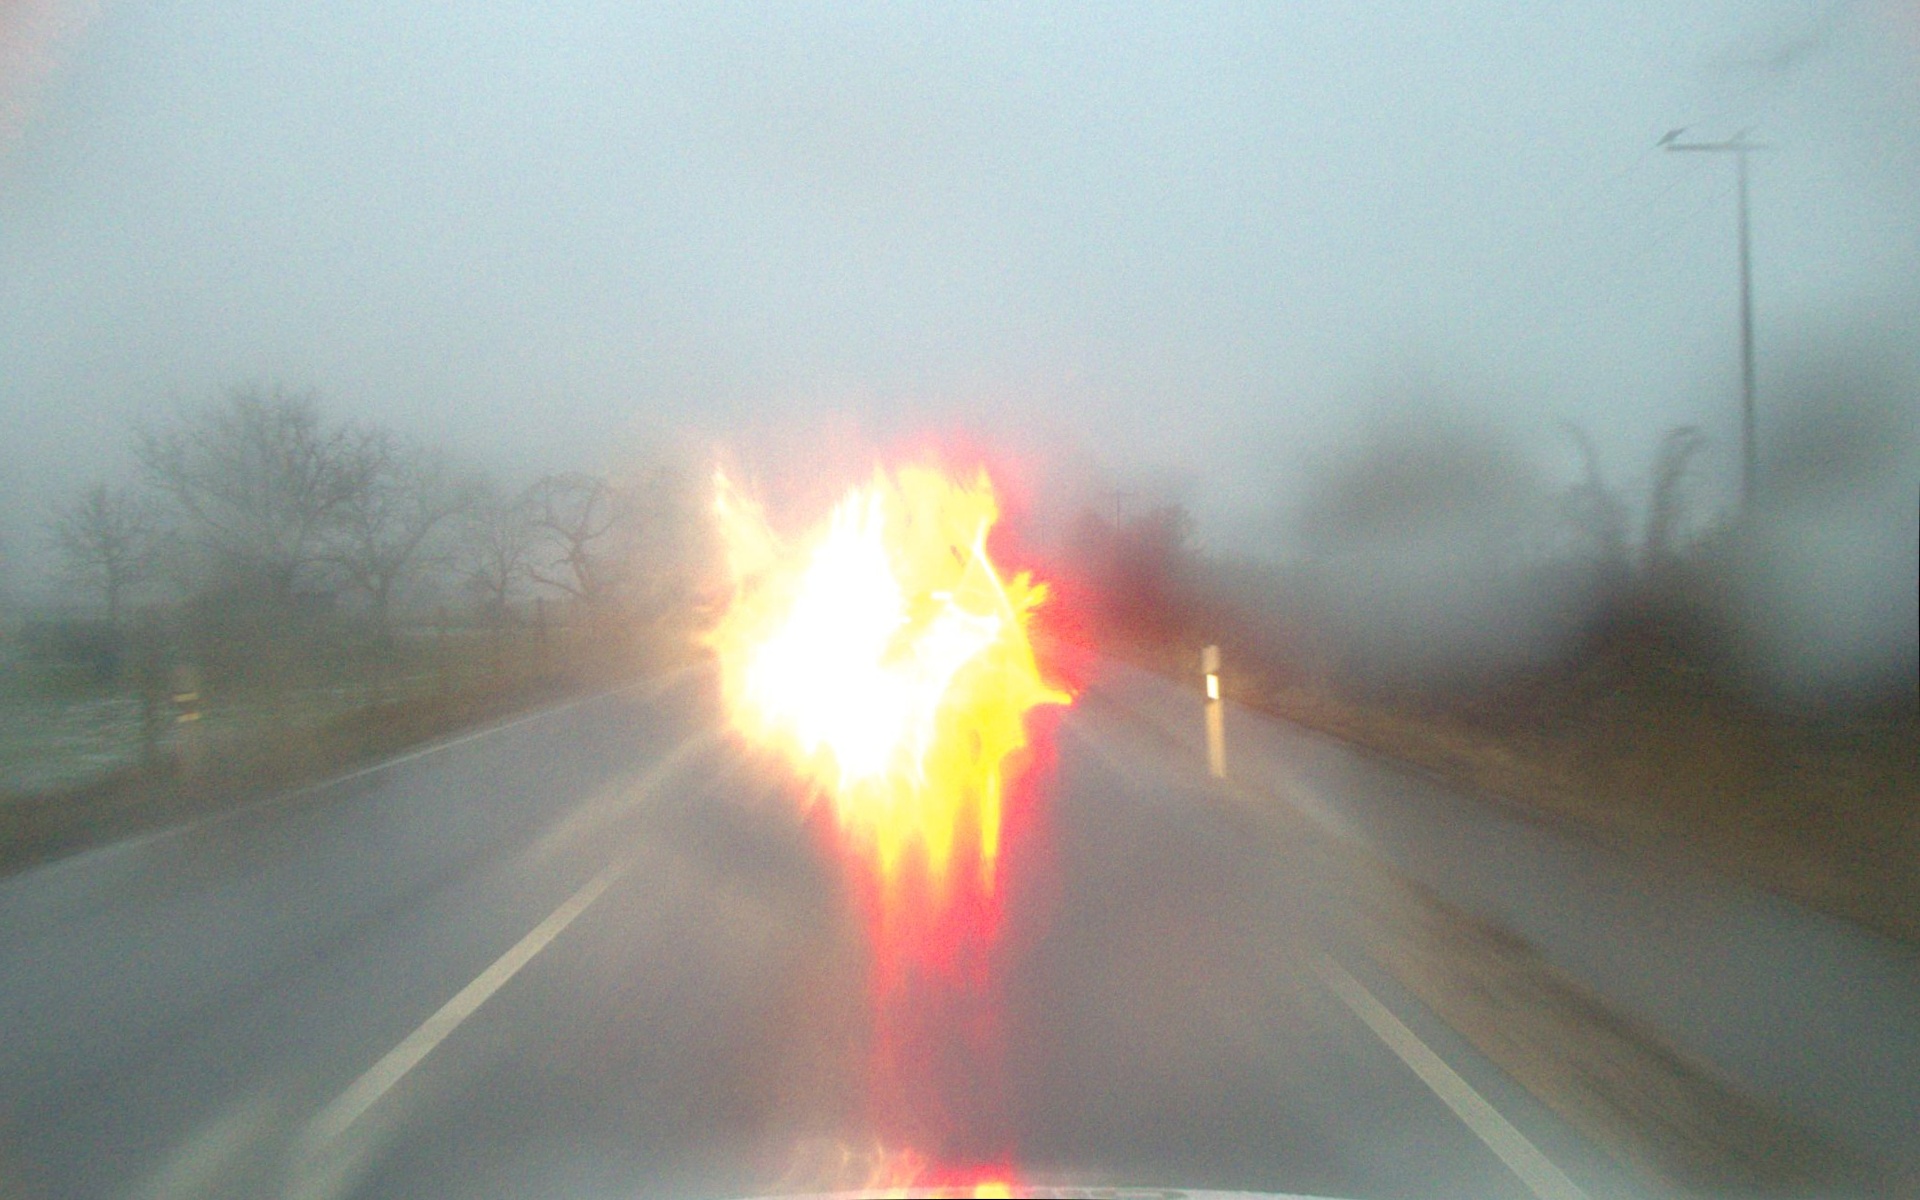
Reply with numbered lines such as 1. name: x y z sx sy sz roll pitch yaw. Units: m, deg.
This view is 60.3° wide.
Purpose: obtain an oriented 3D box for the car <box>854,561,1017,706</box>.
1. car: -0.344 0.409 23.693 2.077 1.851 4.979 0 0 -1

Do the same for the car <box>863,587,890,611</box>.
1. car: -5.825 -0.070 116.226 1.726 1.582 3.999 -1 1 -1

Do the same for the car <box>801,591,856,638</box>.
1. car: -4.660 0.480 59.054 1.818 1.543 4.513 -2 1 -3

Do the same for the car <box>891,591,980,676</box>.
1. car: -0.571 0.746 39.002 1.953 1.881 3.999 1 0 -1
